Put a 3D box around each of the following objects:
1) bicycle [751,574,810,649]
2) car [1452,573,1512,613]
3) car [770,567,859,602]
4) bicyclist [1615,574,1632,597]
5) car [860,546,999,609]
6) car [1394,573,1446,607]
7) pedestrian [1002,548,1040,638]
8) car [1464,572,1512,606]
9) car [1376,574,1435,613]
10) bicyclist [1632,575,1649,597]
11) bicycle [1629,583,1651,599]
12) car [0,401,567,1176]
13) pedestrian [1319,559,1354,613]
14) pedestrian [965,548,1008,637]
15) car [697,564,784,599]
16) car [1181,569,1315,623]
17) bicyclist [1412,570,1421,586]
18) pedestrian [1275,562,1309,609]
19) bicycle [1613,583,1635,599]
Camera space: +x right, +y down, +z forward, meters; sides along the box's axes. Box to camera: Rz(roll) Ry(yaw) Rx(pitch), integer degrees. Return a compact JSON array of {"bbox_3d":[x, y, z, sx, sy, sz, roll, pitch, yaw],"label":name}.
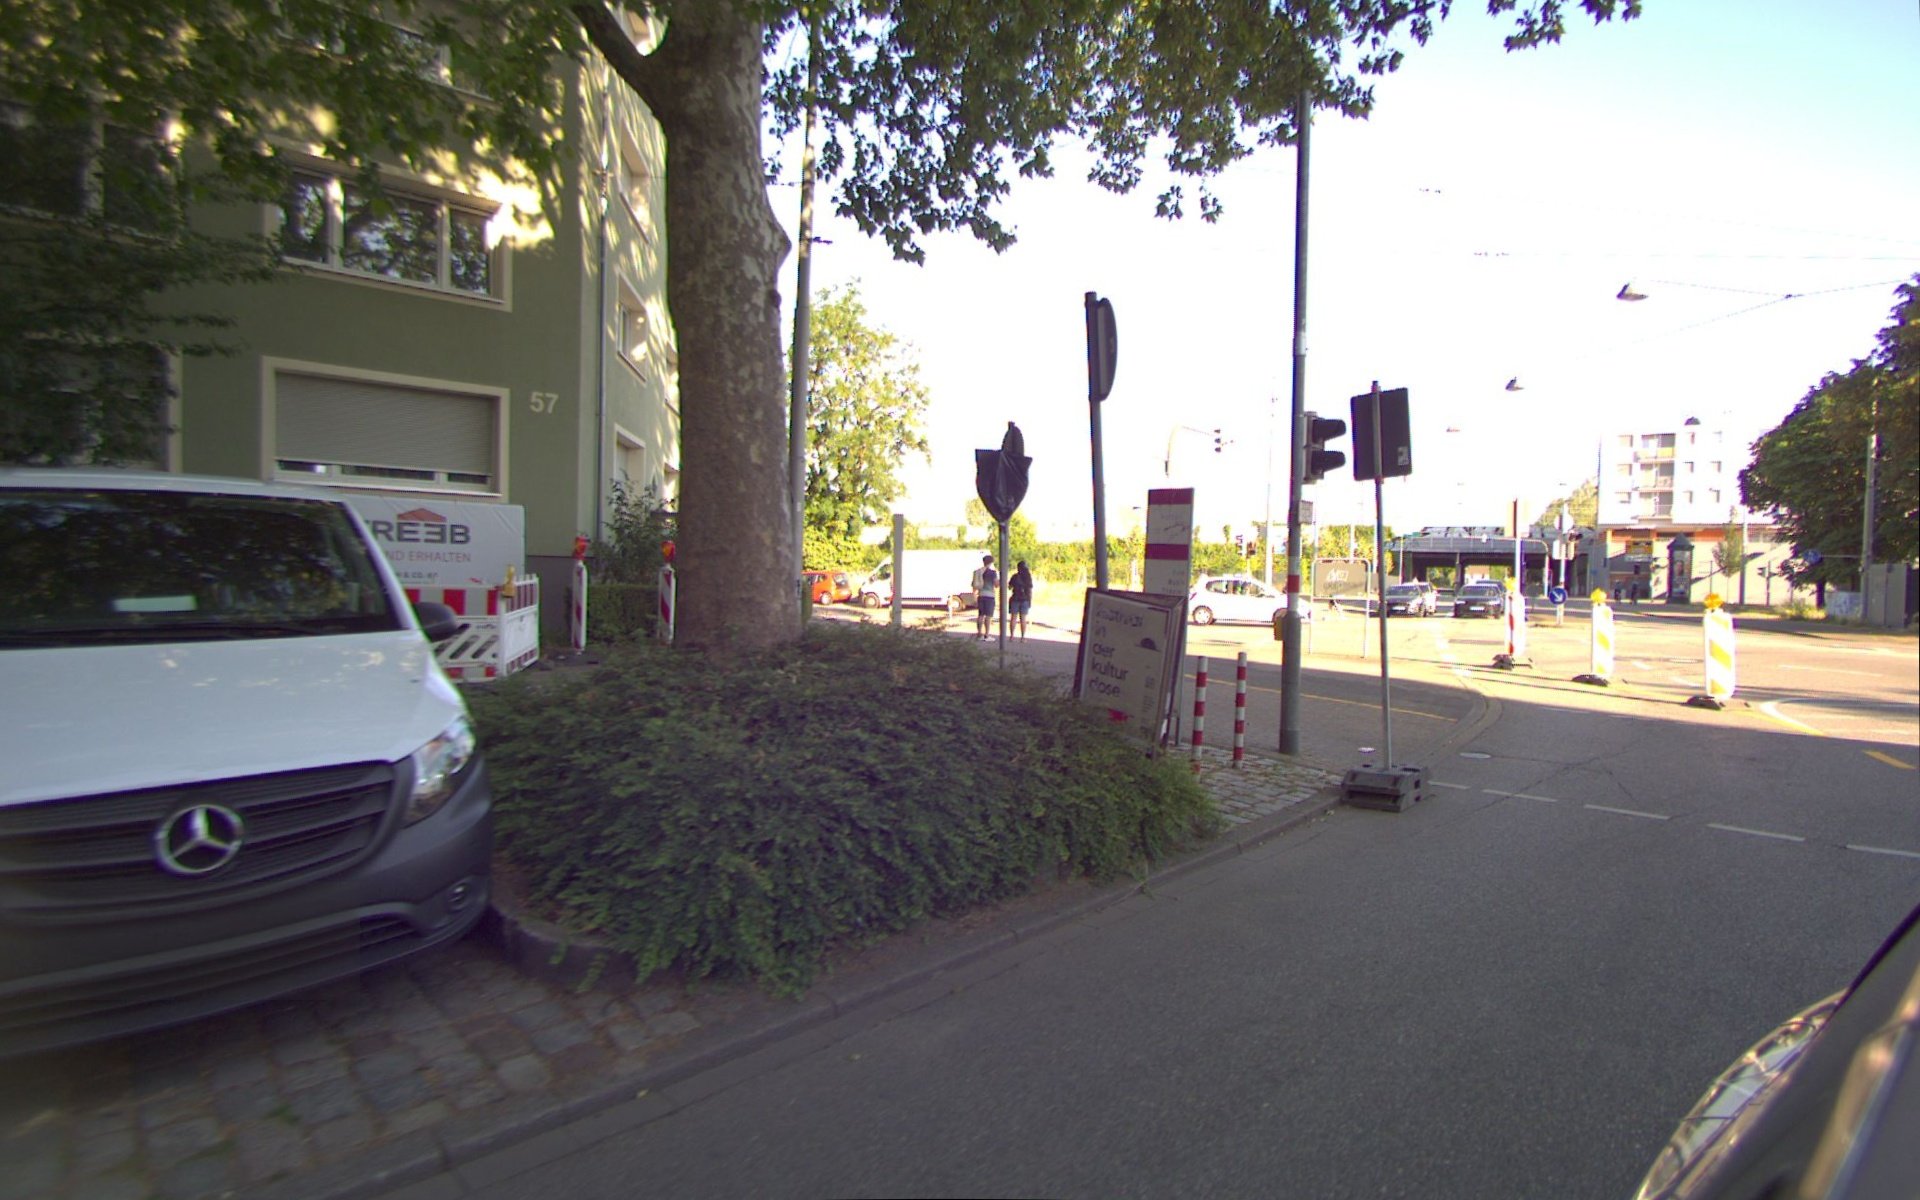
[{"bbox_3d":[-2.781,0.143,15.866,0.511,1.070,1.933,1,2,2],"label":"bicycle"},{"bbox_3d":[22.654,-0.359,43.820,2.037,1.586,4.403,2,2,30],"label":"car"},{"bbox_3d":[-6.589,-0.723,45.795,3.659,1.505,1.731,2,2,27],"label":"car"},{"bbox_3d":[46.740,-1.021,71.272,0.688,1.551,1.032,1,1,16],"label":"bicyclist"},{"bbox_3d":[-1.288,-1.018,42.613,5.505,2.465,2.218,2,4,26],"label":"car"},{"bbox_3d":[22.903,-0.517,50.288,1.983,1.586,4.232,2,2,29],"label":"car"},{"bbox_3d":[1.241,-0.159,20.398,0.682,1.772,0.793,1,1,9],"label":"pedestrian"},{"bbox_3d":[26.604,-0.575,50.916,1.983,1.586,4.411,2,2,29],"label":"car"},{"bbox_3d":[19.585,-0.324,44.434,1.983,1.586,4.232,1,2,29],"label":"car"},{"bbox_3d":[47.706,-0.999,70.912,0.651,1.551,1.032,1,1,16],"label":"bicyclist"},{"bbox_3d":[47.773,-0.623,71.106,0.654,1.082,2.010,1,2,14],"label":"bicycle"},{"bbox_3d":[-3.700,0.287,4.625,1.897,1.848,5.231,-2,5,-41],"label":"car"},{"bbox_3d":[13.879,-0.530,37.287,1.059,1.949,0.905,2,1,31],"label":"pedestrian"},{"bbox_3d":[0.540,-0.164,20.559,0.684,1.772,0.791,1,1,17],"label":"pedestrian"},{"bbox_3d":[-10.389,-0.889,47.868,3.780,1.548,1.731,2,2,27],"label":"car"},{"bbox_3d":[8.635,-0.151,30.332,3.731,1.487,1.694,2,2,22],"label":"car"},{"bbox_3d":[47.523,-2.296,105.309,0.769,1.625,0.850,3,1,26],"label":"bicyclist"},{"bbox_3d":[12.780,-0.581,38.931,1.059,1.768,0.905,2,1,31],"label":"pedestrian"},{"bbox_3d":[46.727,-0.647,71.221,0.654,1.082,2.009,1,2,16],"label":"bicycle"}]
